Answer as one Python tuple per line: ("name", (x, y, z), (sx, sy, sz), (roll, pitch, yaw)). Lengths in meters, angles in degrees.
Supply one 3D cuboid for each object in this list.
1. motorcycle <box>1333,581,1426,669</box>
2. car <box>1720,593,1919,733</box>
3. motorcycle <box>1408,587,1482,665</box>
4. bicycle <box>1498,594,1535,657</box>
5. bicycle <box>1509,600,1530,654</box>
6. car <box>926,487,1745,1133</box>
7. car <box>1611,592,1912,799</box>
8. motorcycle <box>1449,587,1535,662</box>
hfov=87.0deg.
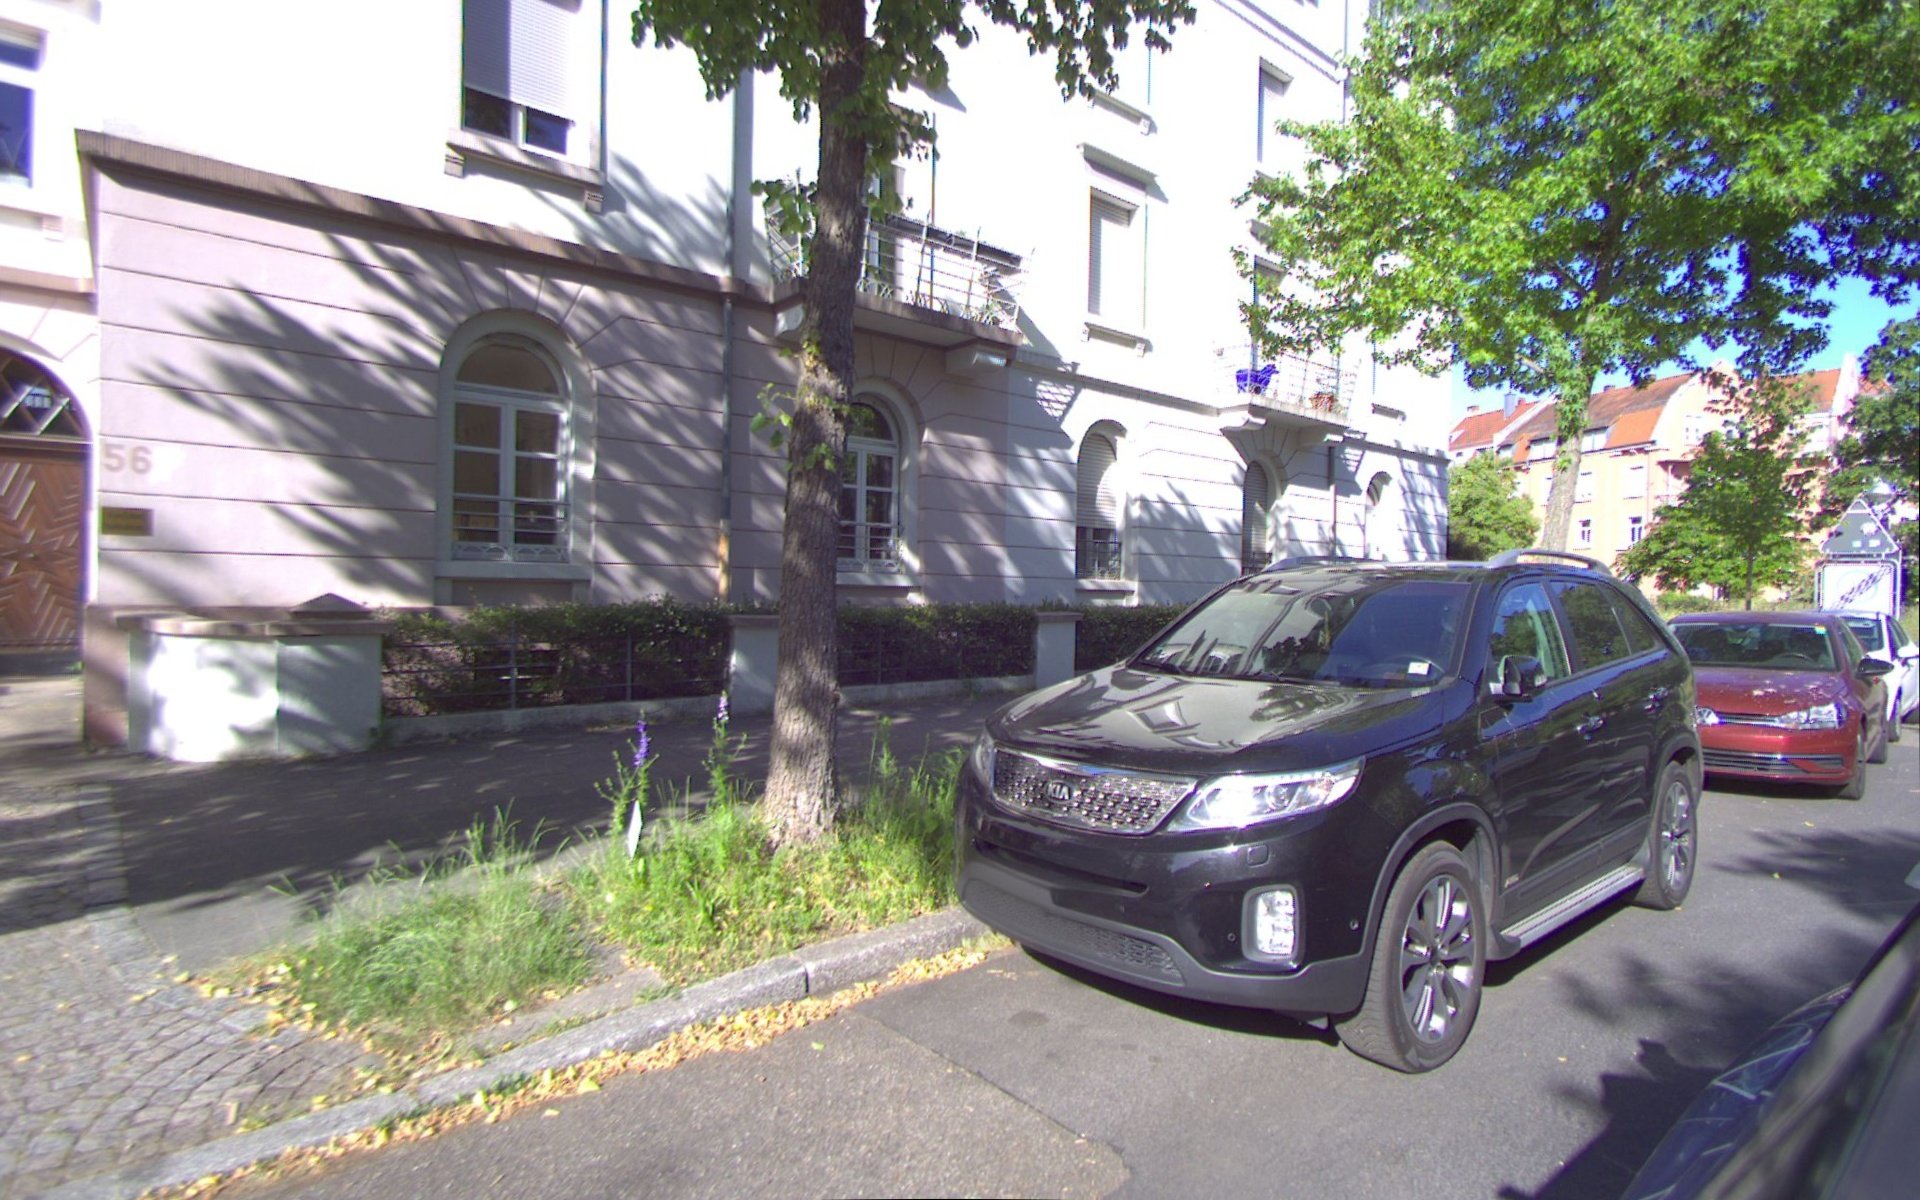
("motorcycle", (6.946, 0.390, 16.695), (2.052, 1.378, 0.540), (0, 1, -41))
("car", (10.894, 0.654, 12.455), (4.063, 1.419, 1.655), (0, 1, -41))
("motorcycle", (8.726, 0.443, 18.181), (0.656, 1.295, 1.772), (4, 3, 43))
("bicycle", (11.571, 0.505, 21.025), (0.325, 1.253, 1.481), (2, 2, 42))
("bicycle", (12.379, 0.572, 22.413), (0.348, 1.117, 1.557), (1, 2, 28))
("car", (2.048, 0.540, 4.755), (4.222, 1.719, 1.784), (0, 1, -41))
("car", (7.422, 0.671, 9.198), (4.280, 1.427, 1.612), (0, 1, -44))
("motorcycle", (10.172, 0.434, 19.316), (0.971, 1.345, 1.823), (1, 1, 44))
